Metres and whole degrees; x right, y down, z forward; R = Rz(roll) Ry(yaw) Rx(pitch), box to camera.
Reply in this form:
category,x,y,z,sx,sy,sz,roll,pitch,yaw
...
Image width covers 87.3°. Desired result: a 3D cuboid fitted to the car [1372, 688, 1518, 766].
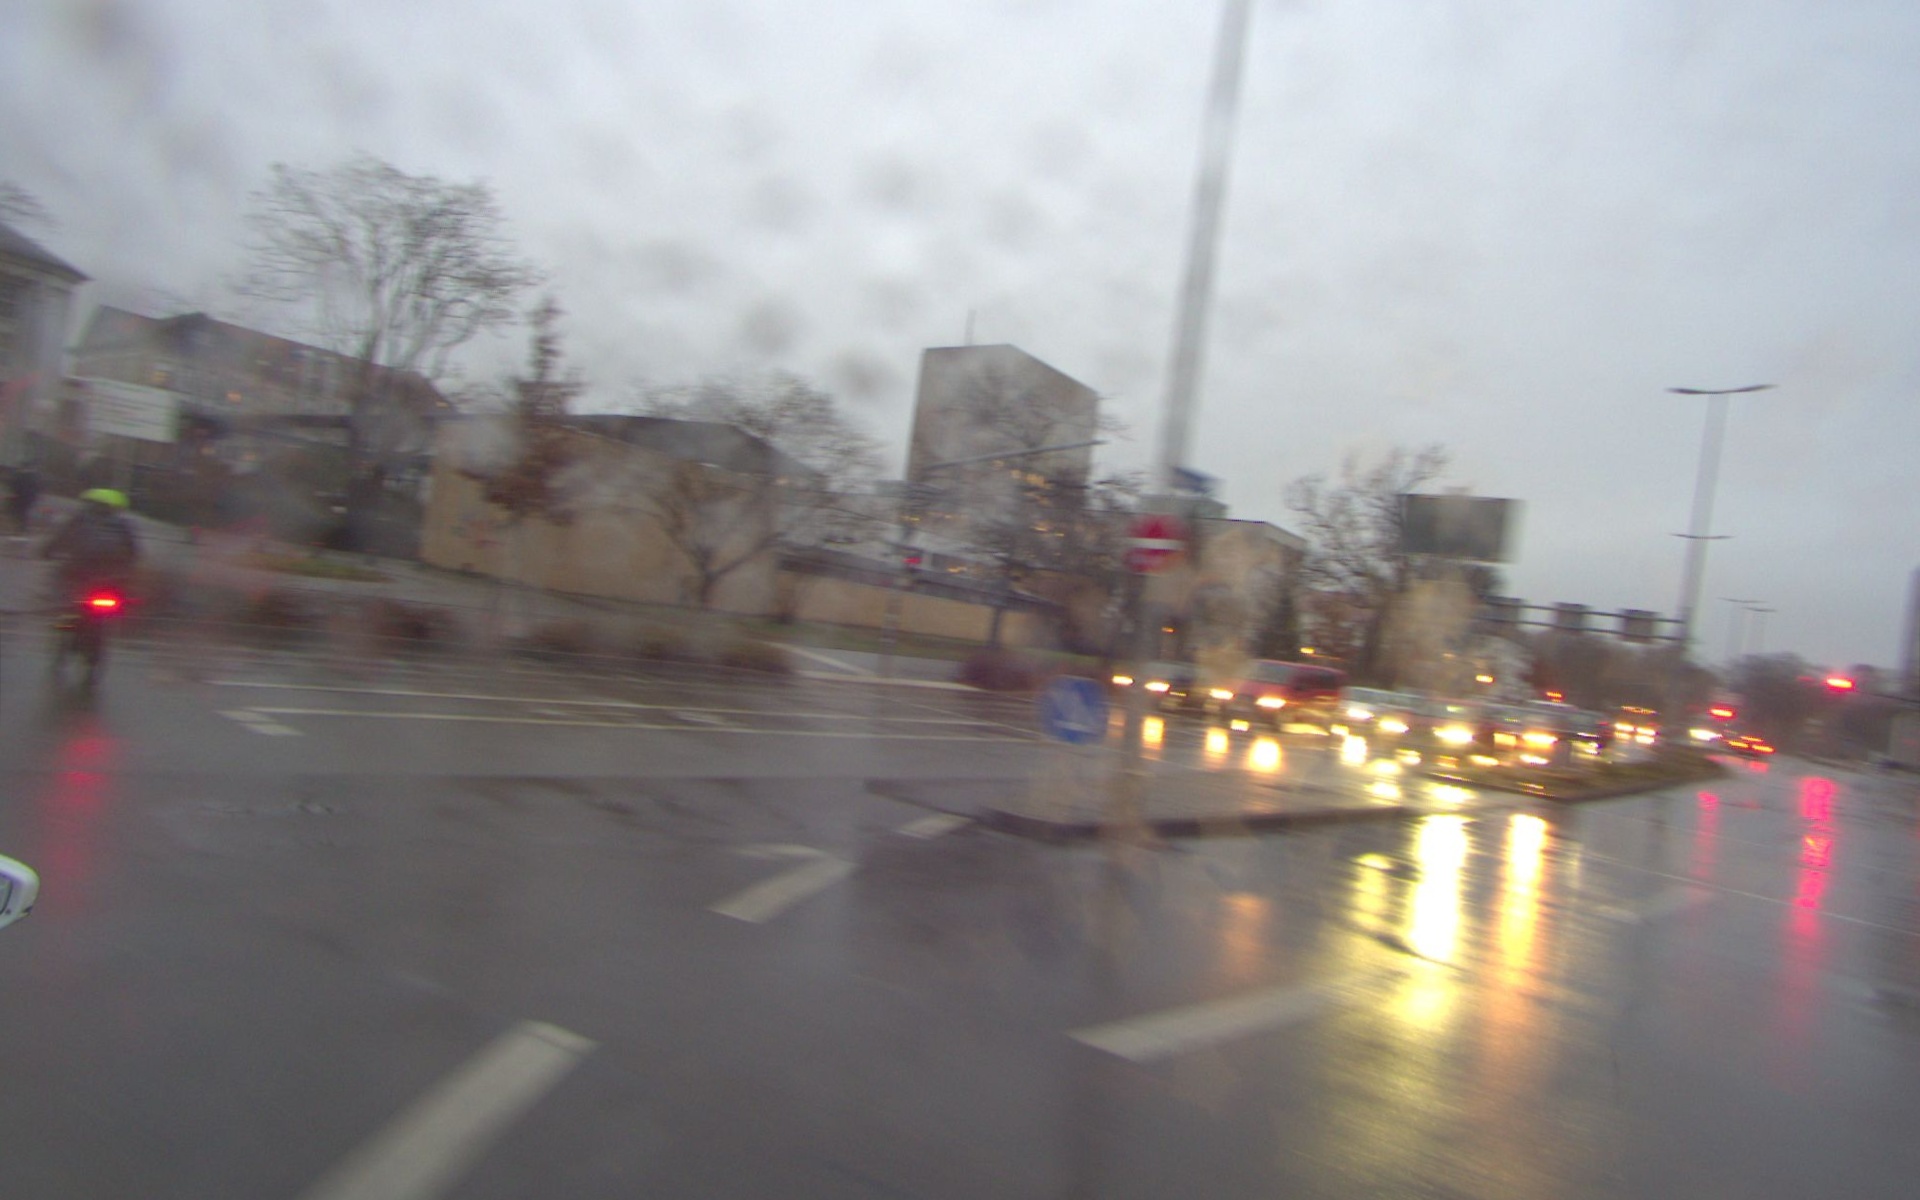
category,x,y,z,sx,sy,sz,roll,pitch,yaw
car,11.808,3.055,24.336,1.905,1.393,4.478,9,0,42

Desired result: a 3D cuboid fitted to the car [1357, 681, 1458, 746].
category,x,y,z,sx,sy,sz,roll,pitch,yaw
car,16.360,4.152,36.690,1.973,1.926,3.981,9,0,43

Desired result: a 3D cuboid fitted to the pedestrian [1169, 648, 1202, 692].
category,x,y,z,sx,sy,sz,roll,pitch,yaw
pedestrian,10.201,3.182,45.571,0.920,1.848,0.830,10,2,42

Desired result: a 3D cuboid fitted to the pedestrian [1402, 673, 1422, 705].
category,x,y,z,sx,sy,sz,roll,pitch,yaw
pedestrian,30.319,5.994,67.511,0.755,2.039,0.906,9,1,41

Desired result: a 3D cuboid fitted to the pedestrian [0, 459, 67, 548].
category,x,y,z,sx,sy,sz,roll,pitch,yaw
pedestrian,-20.308,-2.092,21.764,0.895,1.707,0.928,11,1,13

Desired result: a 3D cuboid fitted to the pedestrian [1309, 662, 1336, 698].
category,x,y,z,sx,sy,sz,roll,pitch,yaw
pedestrian,20.196,4.471,56.065,0.920,1.848,0.830,10,2,42

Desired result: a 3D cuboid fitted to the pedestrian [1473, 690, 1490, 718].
category,x,y,z,sx,sy,sz,roll,pitch,yaw
pedestrian,41.097,8.192,79.249,0.755,2.039,0.769,9,2,41

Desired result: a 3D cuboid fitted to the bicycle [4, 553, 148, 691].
category,x,y,z,sx,sy,sz,roll,pitch,yaw
bicycle,-8.059,0.172,9.136,2.064,0.958,0.561,8,1,39

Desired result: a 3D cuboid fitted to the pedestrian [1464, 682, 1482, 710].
category,x,y,z,sx,sy,sz,roll,pitch,yaw
pedestrian,35.681,6.647,69.948,0.615,1.822,0.932,9,1,44

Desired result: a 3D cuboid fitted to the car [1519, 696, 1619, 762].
category,x,y,z,sx,sy,sz,roll,pitch,yaw
car,20.729,4.365,34.162,1.972,1.771,4.450,8,0,42

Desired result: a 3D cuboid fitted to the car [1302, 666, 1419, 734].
category,x,y,z,sx,sy,sz,roll,pitch,yaw
car,13.091,3.302,32.765,1.972,1.771,4.450,9,0,42

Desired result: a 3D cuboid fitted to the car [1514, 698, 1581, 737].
category,x,y,z,sx,sy,sz,roll,pitch,yaw
car,30.637,6.118,52.398,1.972,1.587,4.740,10,1,42

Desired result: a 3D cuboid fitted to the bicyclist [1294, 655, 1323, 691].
category,x,y,z,sx,sy,sz,roll,pitch,yaw
bicyclist,16.251,3.406,46.945,0.757,1.508,0.989,9,1,42

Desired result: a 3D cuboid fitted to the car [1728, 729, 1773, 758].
category,x,y,z,sx,sy,sz,roll,pitch,yaw
car,56.652,10.283,72.082,1.972,1.586,4.451,11,1,43

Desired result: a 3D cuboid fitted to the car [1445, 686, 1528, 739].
category,x,y,z,sx,sy,sz,roll,pitch,yaw
car,22.242,4.770,42.441,1.972,1.793,3.982,8,0,42

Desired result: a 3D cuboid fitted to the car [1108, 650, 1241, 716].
category,x,y,z,sx,sy,sz,roll,pitch,yaw
car,6.422,2.502,29.843,1.749,1.504,4.450,9,0,42

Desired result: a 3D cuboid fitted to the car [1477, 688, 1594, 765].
category,x,y,z,sx,sy,sz,roll,pitch,yaw
car,17.308,3.785,30.146,1.971,1.771,4.450,11,2,42

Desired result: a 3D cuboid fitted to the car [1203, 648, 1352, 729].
category,x,y,z,sx,sy,sz,roll,pitch,yaw
car,8.987,2.529,28.192,1.972,1.771,4.923,9,0,42

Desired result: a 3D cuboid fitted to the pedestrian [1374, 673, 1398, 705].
category,x,y,z,sx,sy,sz,roll,pitch,yaw
pedestrian,26.969,5.634,63.668,0.920,1.848,0.830,10,2,42

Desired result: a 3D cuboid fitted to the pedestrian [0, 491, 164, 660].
category,x,y,z,sx,sy,sz,roll,pitch,yaw
pedestrian,-7.795,-0.209,8.930,0.835,1.333,0.874,9,1,38

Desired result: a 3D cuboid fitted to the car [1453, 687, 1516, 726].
category,x,y,z,sx,sy,sz,roll,pitch,yaw
car,28.547,5.810,54.713,1.972,1.687,3.982,9,1,42

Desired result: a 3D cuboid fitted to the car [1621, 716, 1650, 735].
category,x,y,z,sx,sy,sz,roll,pitch,yaw
car,77.815,14.456,115.875,2.112,1.838,3.982,9,1,41
